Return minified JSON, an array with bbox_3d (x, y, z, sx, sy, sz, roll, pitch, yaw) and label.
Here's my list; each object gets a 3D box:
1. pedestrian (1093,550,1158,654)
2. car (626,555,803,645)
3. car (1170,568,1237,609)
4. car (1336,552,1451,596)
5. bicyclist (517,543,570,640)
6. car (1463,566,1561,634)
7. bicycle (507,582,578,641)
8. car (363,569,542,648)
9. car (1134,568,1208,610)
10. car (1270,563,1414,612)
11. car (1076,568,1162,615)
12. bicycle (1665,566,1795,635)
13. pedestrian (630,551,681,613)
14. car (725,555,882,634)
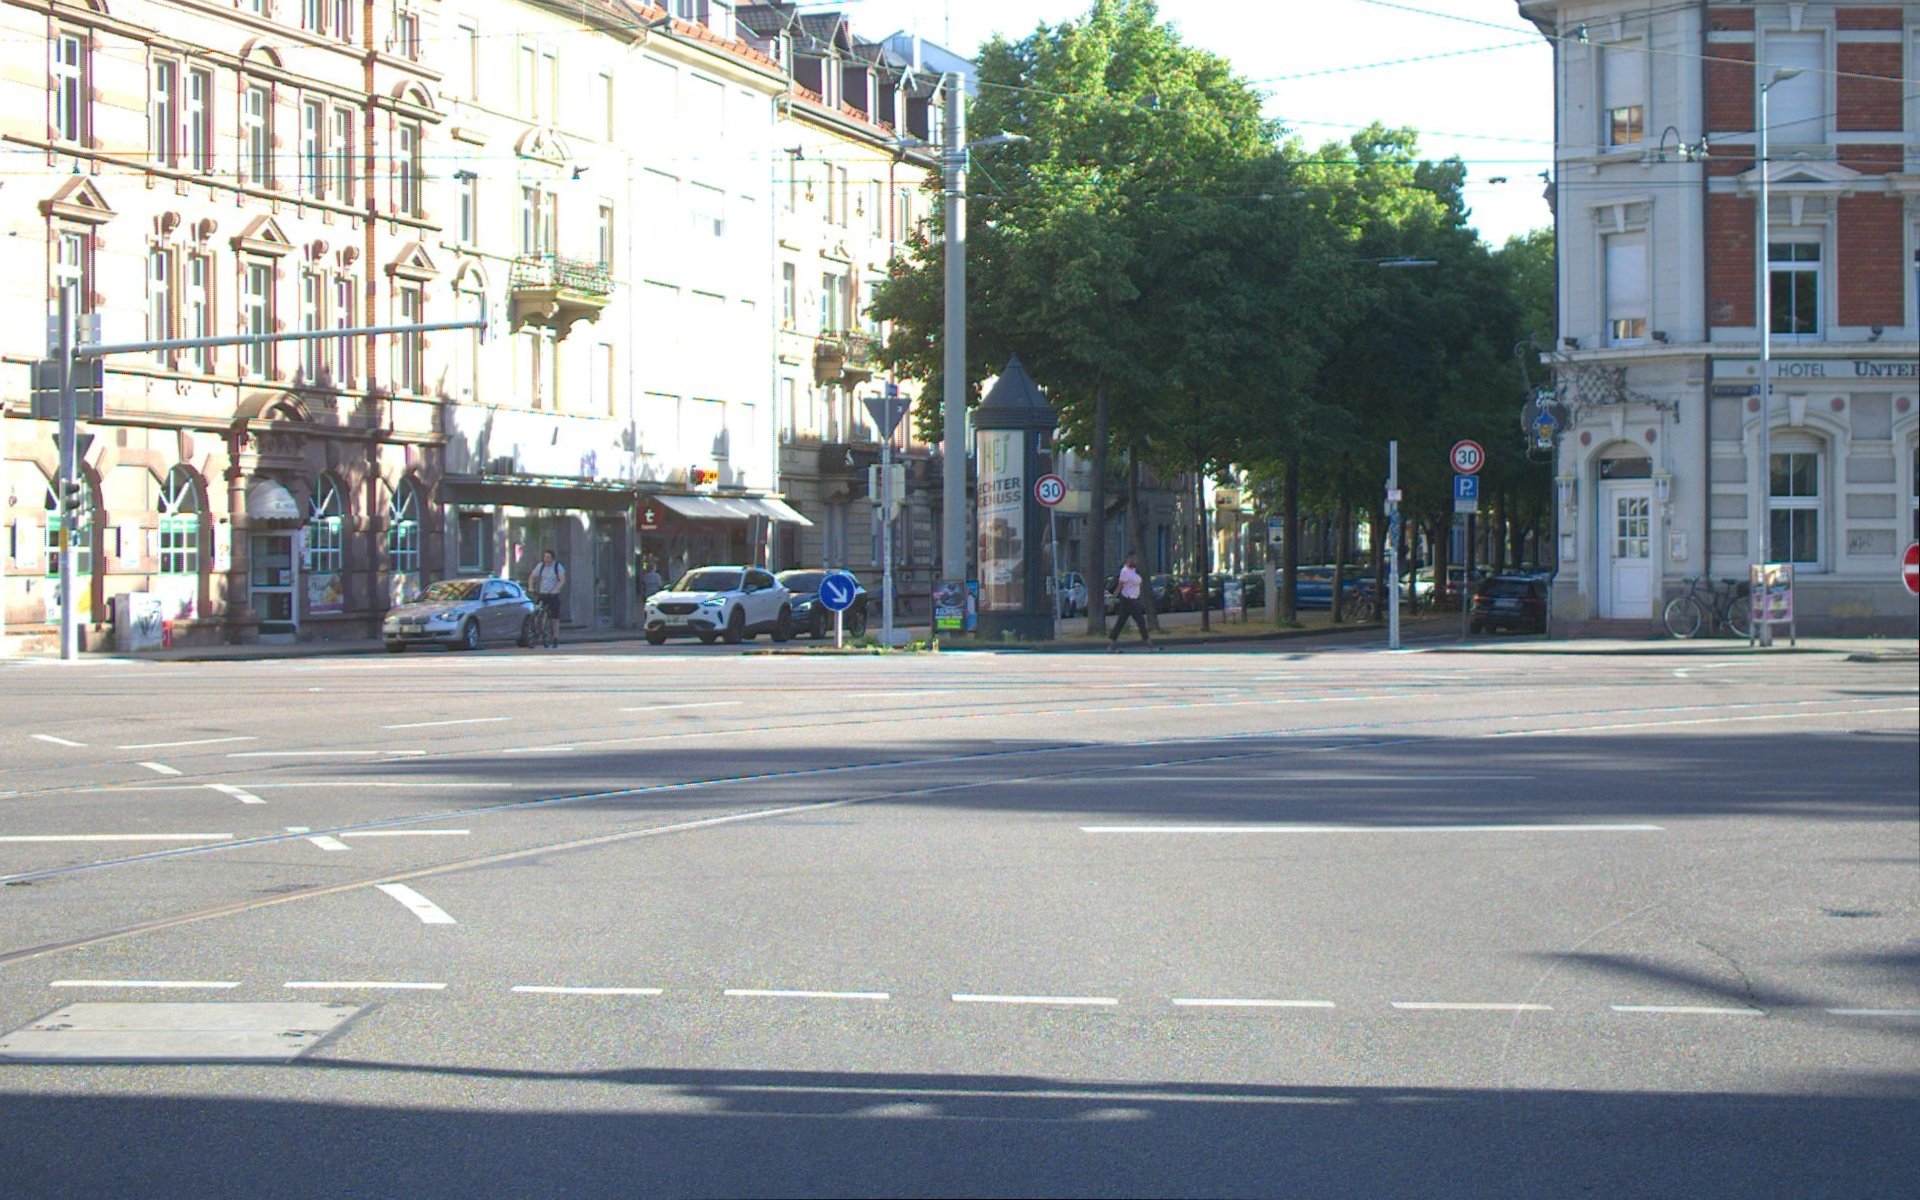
[{"bbox_3d":[2.805,0.034,58.170,1.046,1.738,0.808,0,1,6],"label":"pedestrian"},{"bbox_3d":[-4.765,-0.022,67.345,1.995,1.678,4.387,0,1,17],"label":"car"},{"bbox_3d":[9.691,-0.474,136.353,1.766,1.544,4.387,0,1,16],"label":"car"},{"bbox_3d":[16.853,-1.021,133.646,3.993,1.700,1.997,0,1,30],"label":"car"},{"bbox_3d":[-7.879,-0.166,65.066,0.679,1.814,1.070,0,1,12],"label":"bicyclist"},{"bbox_3d":[13.266,-0.018,82.463,1.995,1.579,3.998,0,1,14],"label":"car"},{"bbox_3d":[-7.889,0.213,65.031,0.680,1.062,2.124,0,1,12],"label":"bicycle"},{"bbox_3d":[-9.853,0.145,67.070,1.900,1.450,3.997,0,1,17],"label":"car"},{"bbox_3d":[8.026,-0.424,130.476,1.839,1.547,4.387,0,1,17],"label":"car"},{"bbox_3d":[12.815,-0.444,115.369,4.382,1.606,1.997,0,1,27],"label":"car"},{"bbox_3d":[5.700,-0.305,122.686,1.995,1.607,4.387,0,1,17],"label":"car"},{"bbox_3d":[12.857,0.003,57.411,2.085,1.120,0.367,1,0,-4],"label":"bicycle"},{"bbox_3d":[-7.617,-0.450,86.045,0.929,1.530,1.136,0,1,14],"label":"pedestrian"},{"bbox_3d":[-3.320,-0.140,73.858,1.995,1.606,4.387,0,1,17],"label":"car"}]
